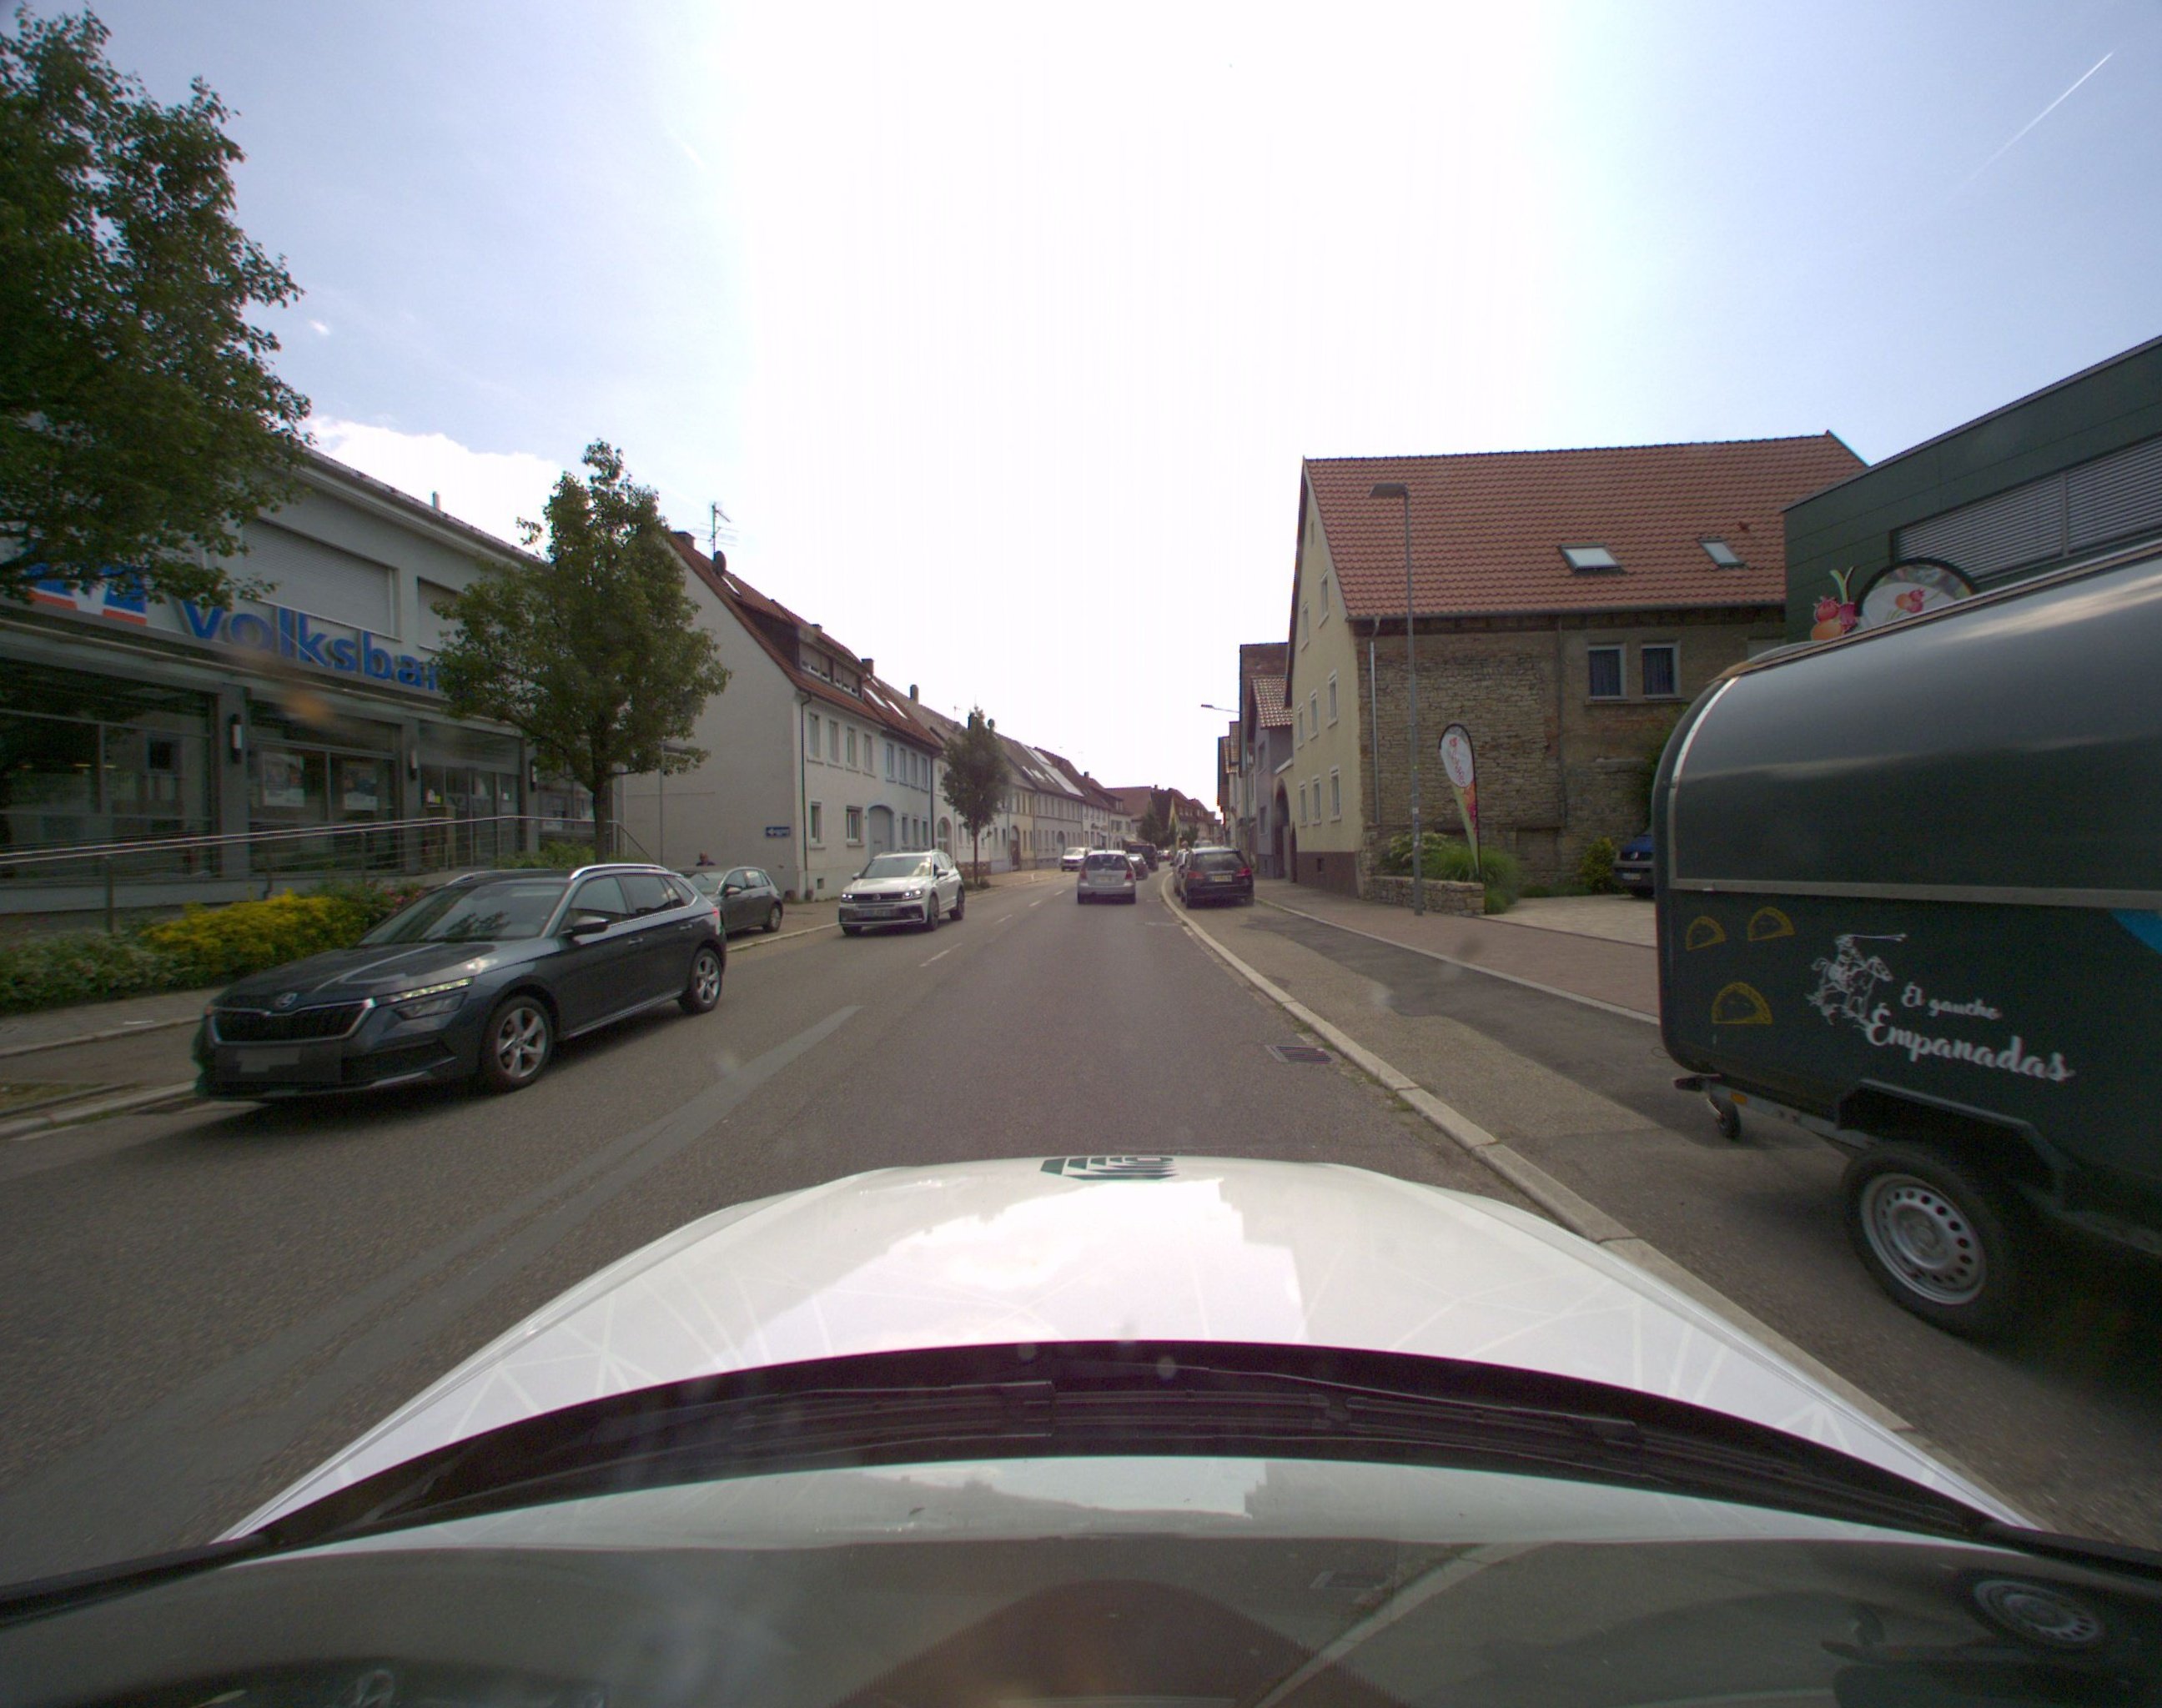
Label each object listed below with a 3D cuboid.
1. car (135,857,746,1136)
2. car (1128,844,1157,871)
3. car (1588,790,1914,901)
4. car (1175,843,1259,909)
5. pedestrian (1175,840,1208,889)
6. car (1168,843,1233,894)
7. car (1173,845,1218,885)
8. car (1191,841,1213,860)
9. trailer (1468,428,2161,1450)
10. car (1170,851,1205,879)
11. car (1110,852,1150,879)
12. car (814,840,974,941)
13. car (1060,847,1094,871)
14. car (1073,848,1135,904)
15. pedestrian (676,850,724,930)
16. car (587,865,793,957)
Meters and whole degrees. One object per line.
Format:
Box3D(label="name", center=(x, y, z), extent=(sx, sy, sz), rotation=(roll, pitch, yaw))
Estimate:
Box3D(label="car", center=(-4.633, 0.854, 6.838), extent=(1.736, 1.526, 4.022), rotation=(-3, 0, 3))
Box3D(label="car", center=(4.528, 0.268, 59.485), extent=(1.759, 1.888, 4.457), rotation=(1, 0, 9))
Box3D(label="car", center=(13.353, -0.169, 16.435), extent=(5.040, 1.950, 1.998), rotation=(-2, 0, -3))
Box3D(label="car", center=(3.643, 0.540, 22.437), extent=(1.983, 1.559, 4.008), rotation=(-3, 0, 6))
Box3D(label="pedestrian", center=(4.230, 0.394, 31.111), extent=(1.088, 1.821, 1.474), rotation=(-2, 0, 12))
Box3D(label="car", center=(4.035, 0.478, 28.131), extent=(1.852, 1.531, 4.201), rotation=(-3, -1, 4))
Box3D(label="car", center=(5.162, 0.472, 36.972), extent=(1.851, 1.626, 4.205), rotation=(-3, -1, 7))
Box3D(label="car", center=(14.941, -0.399, 100.196), extent=(2.220, 2.222, 4.015), rotation=(-3, -1, 14))
Box3D(label="trailer", center=(3.368, 0.173, 3.212), extent=(1.840, 2.354, 3.587), rotation=(-2, 0, -2))
Box3D(label="car", center=(6.086, 0.605, 46.489), extent=(1.851, 1.463, 3.457), rotation=(-3, -1, 7))
Box3D(label="car", center=(2.790, 0.647, 45.315), extent=(1.934, 1.407, 4.008), rotation=(1, 0, 7))
Box3D(label="car", center=(-3.867, 0.682, 17.773), extent=(1.945, 1.784, 4.658), rotation=(-4, 0, 5))
Box3D(label="car", center=(-0.285, 0.369, 66.776), extent=(2.080, 1.884, 4.009), rotation=(-2, 0, 8))
Box3D(label="car", center=(0.810, 0.654, 25.688), extent=(1.761, 1.595, 4.004), rotation=(1, 0, 4))
Box3D(label="pedestrian", center=(-8.876, 0.830, 19.004), extent=(0.736, 1.801, 0.642), rotation=(-3, -1, 0))
Box3D(label="car", center=(-7.405, 0.997, 15.961), extent=(1.797, 1.460, 4.162), rotation=(-1, 0, 3))
